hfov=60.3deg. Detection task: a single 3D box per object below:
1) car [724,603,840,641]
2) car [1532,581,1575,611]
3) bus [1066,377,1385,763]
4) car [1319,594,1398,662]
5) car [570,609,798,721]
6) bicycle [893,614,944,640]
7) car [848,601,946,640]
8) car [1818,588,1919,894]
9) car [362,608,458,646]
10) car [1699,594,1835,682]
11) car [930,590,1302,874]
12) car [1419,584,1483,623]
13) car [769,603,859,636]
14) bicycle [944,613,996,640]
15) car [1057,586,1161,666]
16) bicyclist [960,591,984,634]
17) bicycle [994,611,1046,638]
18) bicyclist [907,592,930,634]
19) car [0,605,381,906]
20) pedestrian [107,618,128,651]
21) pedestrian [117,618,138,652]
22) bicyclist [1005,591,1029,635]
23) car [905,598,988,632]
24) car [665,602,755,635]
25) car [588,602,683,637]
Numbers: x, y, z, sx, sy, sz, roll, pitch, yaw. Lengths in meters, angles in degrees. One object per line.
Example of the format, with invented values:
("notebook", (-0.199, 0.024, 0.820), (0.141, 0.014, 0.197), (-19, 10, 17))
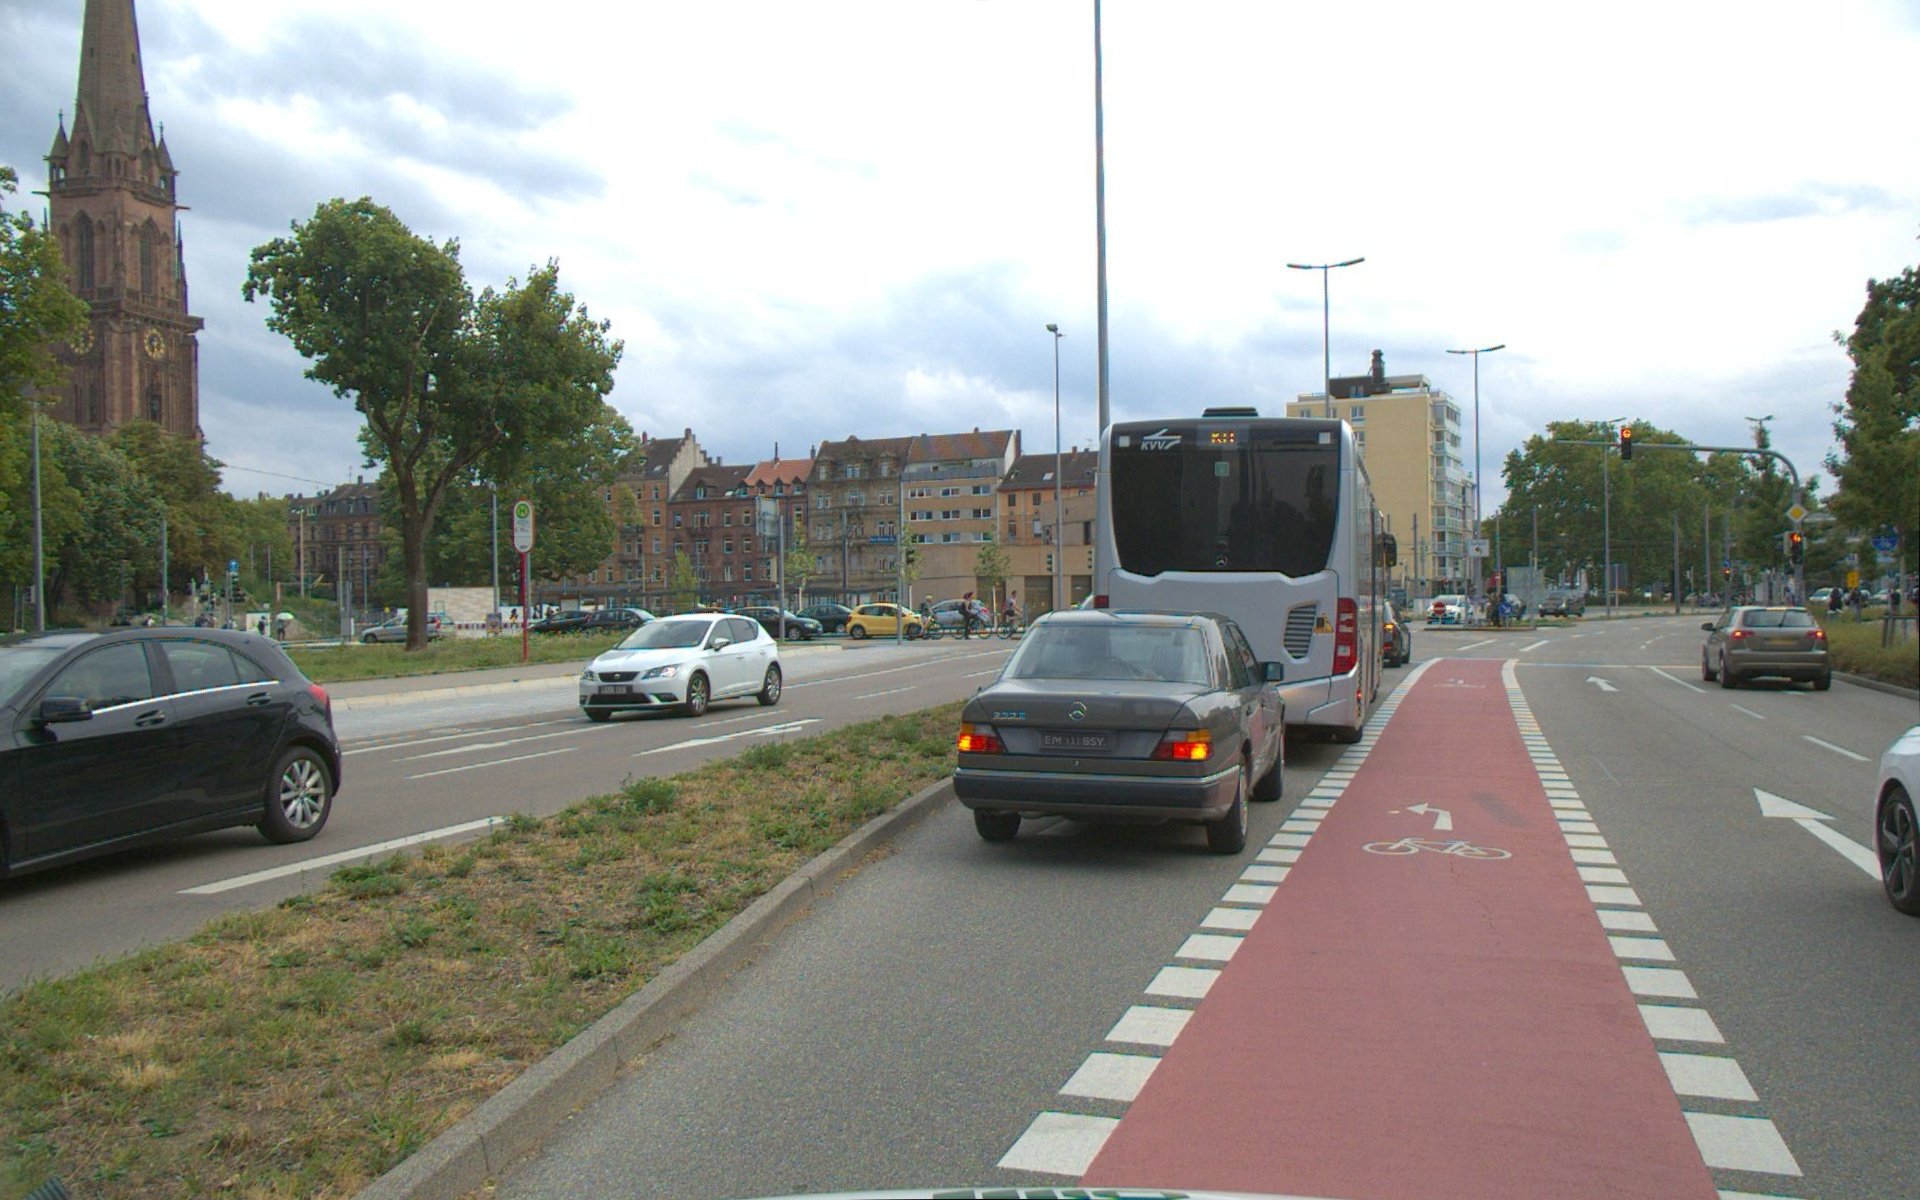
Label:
("car", (-7.476, 0.900, 69.666), (4.569, 1.501, 1.662), (1, 0, 12))
("car", (41.472, -0.301, 115.527), (1.958, 2.049, 3.989), (-1, 0, 33))
("bus", (3.412, -0.280, 19.109), (2.771, 3.449, 8.189), (-1, 0, 15))
("car", (8.983, 0.602, 37.215), (1.620, 1.421, 3.863), (-1, 0, 14))
("car", (-4.032, 0.921, 24.893), (1.661, 1.468, 4.178), (-2, 0, 17))
("bicycle", (-1.655, 1.070, 66.003), (1.922, 0.999, 0.631), (-1, 0, 12))
("car", (-2.592, 0.828, 68.680), (3.774, 1.544, 1.662), (0, 0, 12))
("car", (5.255, 0.673, 6.795), (1.702, 1.464, 4.787), (-1, 0, 10))
("car", (-26.391, 1.295, 79.444), (4.065, 1.678, 1.648), (-1, 0, 11))
("car", (14.574, 0.647, 30.051), (1.688, 1.483, 3.738), (-1, 0, 18))
("car", (1.248, 0.712, 11.137), (1.724, 1.515, 4.174), (-1, 0, 16))
("car", (28.557, 0.158, 96.101), (2.533, 2.146, 5.594), (-1, 0, 27))
("car", (-6.534, 0.844, 74.027), (3.683, 1.419, 1.586), (0, 0, 12))
("bicycle", (0.405, 1.042, 65.240), (1.922, 0.999, 0.631), (-1, 0, 16))
("car", (3.611, 0.575, 39.411), (1.743, 1.760, 4.376), (-2, 0, 15))
("bicyclist", (0.483, 0.494, 65.229), (0.770, 1.672, 0.573), (-1, 0, 16))
("bicycle", (2.339, 0.970, 64.369), (1.922, 0.999, 0.631), (-1, 0, 14))
("bicyclist", (-1.670, 0.513, 66.027), (0.769, 1.672, 0.573), (-1, 0, 12))
("car", (-5.512, 0.847, 9.646), (1.717, 1.515, 4.380), (-3, 0, 17))
("pedestrian", (-40.962, 1.678, 80.379), (0.549, 1.588, 0.726), (-1, 0, 11))
("pedestrian", (-40.138, 1.681, 79.748), (0.549, 1.588, 0.726), (-1, 0, 11))
("bicyclist", (2.225, 0.501, 64.398), (0.769, 1.672, 0.614), (-1, 0, 14))
("car", (-0.589, 0.658, 73.082), (3.598, 1.419, 1.584), (0, 0, -1))
("car", (-11.324, 0.825, 74.934), (3.683, 1.419, 1.586), (0, 0, 12))
("car", (-13.952, 0.820, 71.109), (3.683, 1.419, 1.586), (0, 0, 12))
